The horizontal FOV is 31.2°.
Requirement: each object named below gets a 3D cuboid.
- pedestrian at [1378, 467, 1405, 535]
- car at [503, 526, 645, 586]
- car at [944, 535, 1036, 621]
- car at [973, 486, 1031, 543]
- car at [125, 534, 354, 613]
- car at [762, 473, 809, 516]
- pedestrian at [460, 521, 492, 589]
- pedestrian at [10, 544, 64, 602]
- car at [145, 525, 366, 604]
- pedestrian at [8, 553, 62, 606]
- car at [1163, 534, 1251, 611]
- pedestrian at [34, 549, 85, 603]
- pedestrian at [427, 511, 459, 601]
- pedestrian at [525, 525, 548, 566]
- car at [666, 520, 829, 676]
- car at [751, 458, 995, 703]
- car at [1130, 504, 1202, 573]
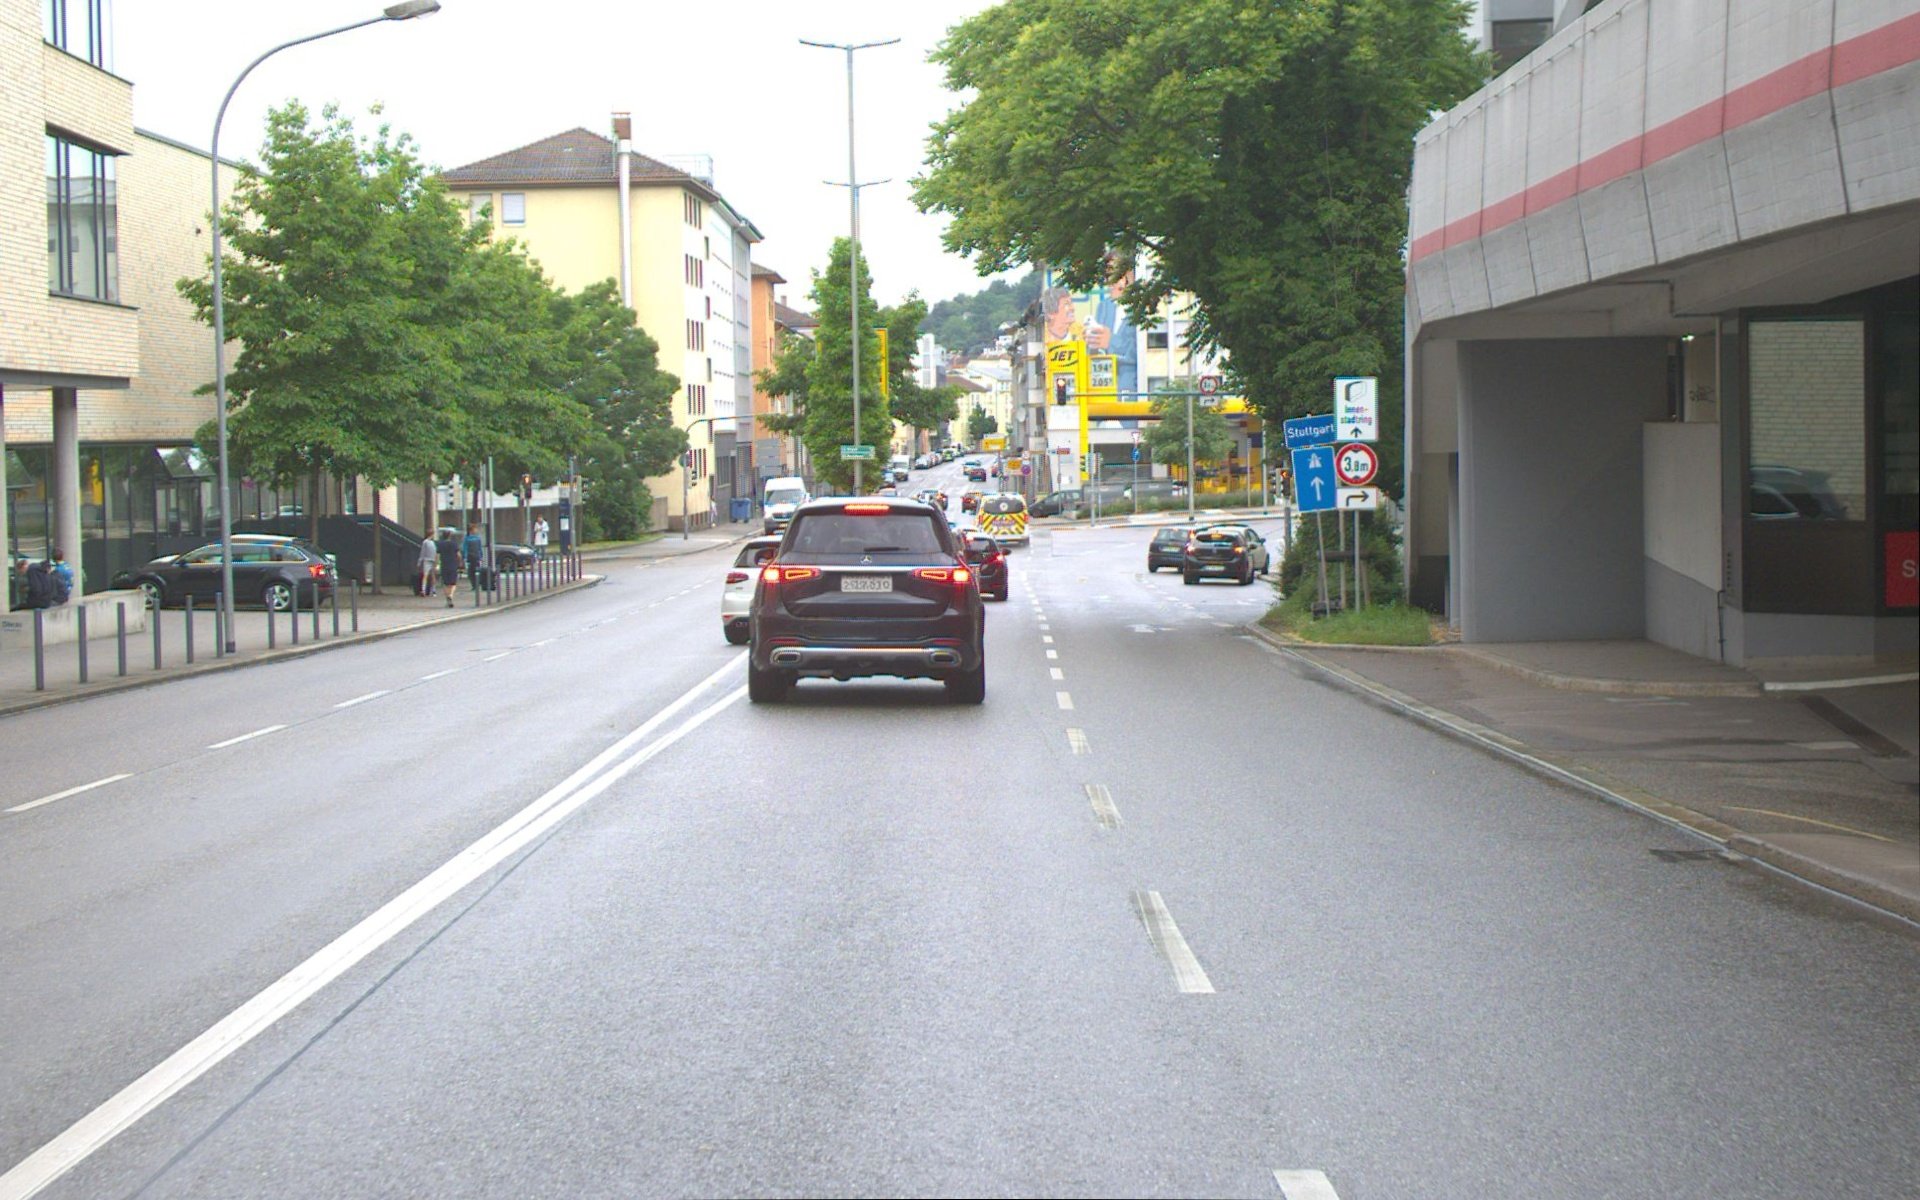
[{"bbox_3d":[9.701,-2.225,77.283,0.551,1.527,0.488,1,0,7],"label":"pedestrian"},{"bbox_3d":[-13.260,-1.524,118.050,4.804,2.006,2.001,-1,2,-7],"label":"car"},{"bbox_3d":[0.599,-0.466,71.175,1.703,1.710,3.444,1,0,-3],"label":"car"},{"bbox_3d":[1.540,-3.128,126.668,1.993,2.007,4.000,1,0,-1],"label":"car"},{"bbox_3d":[-14.978,-0.570,71.668,4.467,1.581,2.000,0,1,-5],"label":"car"},{"bbox_3d":[-8.185,-4.941,161.377,1.993,1.868,5.142,1,1,-1],"label":"car"},{"bbox_3d":[-12.592,-1.173,89.408,0.688,1.720,0.754,1,-2,0],"label":"pedestrian"},{"bbox_3d":[-14.271,-0.416,53.168,0.681,0.883,0.524,1,0,1],"label":"pedestrian"},{"bbox_3d":[-15.085,-0.777,73.771,4.415,1.568,2.001,1,3,-4],"label":"car"},{"bbox_3d":[-14.124,-0.313,52.508,0.598,0.783,0.760,1,0,1],"label":"pedestrian"},{"bbox_3d":[6.669,-0.770,93.049,1.993,2.007,4.001,0,2,-1],"label":"car"},{"bbox_3d":[-13.977,-0.375,53.375,0.586,0.842,0.727,0,0,1],"label":"pedestrian"},{"bbox_3d":[-11.639,-1.000,77.456,0.587,2.007,0.749,1,0,-1],"label":"pedestrian"},{"bbox_3d":[-15.295,-1.979,124.217,0.711,1.457,0.598,1,0,-1],"label":"pedestrian"},{"bbox_3d":[-2.860,-0.039,47.050,1.993,2.007,4.000,1,0,-1],"label":"car"},{"bbox_3d":[-0.749,-0.182,30.655,1.993,2.007,4.000,1,0,-1],"label":"car"},{"bbox_3d":[6.288,-1.861,105.149,1.993,2.007,4.000,1,0,1],"label":"car"}]
